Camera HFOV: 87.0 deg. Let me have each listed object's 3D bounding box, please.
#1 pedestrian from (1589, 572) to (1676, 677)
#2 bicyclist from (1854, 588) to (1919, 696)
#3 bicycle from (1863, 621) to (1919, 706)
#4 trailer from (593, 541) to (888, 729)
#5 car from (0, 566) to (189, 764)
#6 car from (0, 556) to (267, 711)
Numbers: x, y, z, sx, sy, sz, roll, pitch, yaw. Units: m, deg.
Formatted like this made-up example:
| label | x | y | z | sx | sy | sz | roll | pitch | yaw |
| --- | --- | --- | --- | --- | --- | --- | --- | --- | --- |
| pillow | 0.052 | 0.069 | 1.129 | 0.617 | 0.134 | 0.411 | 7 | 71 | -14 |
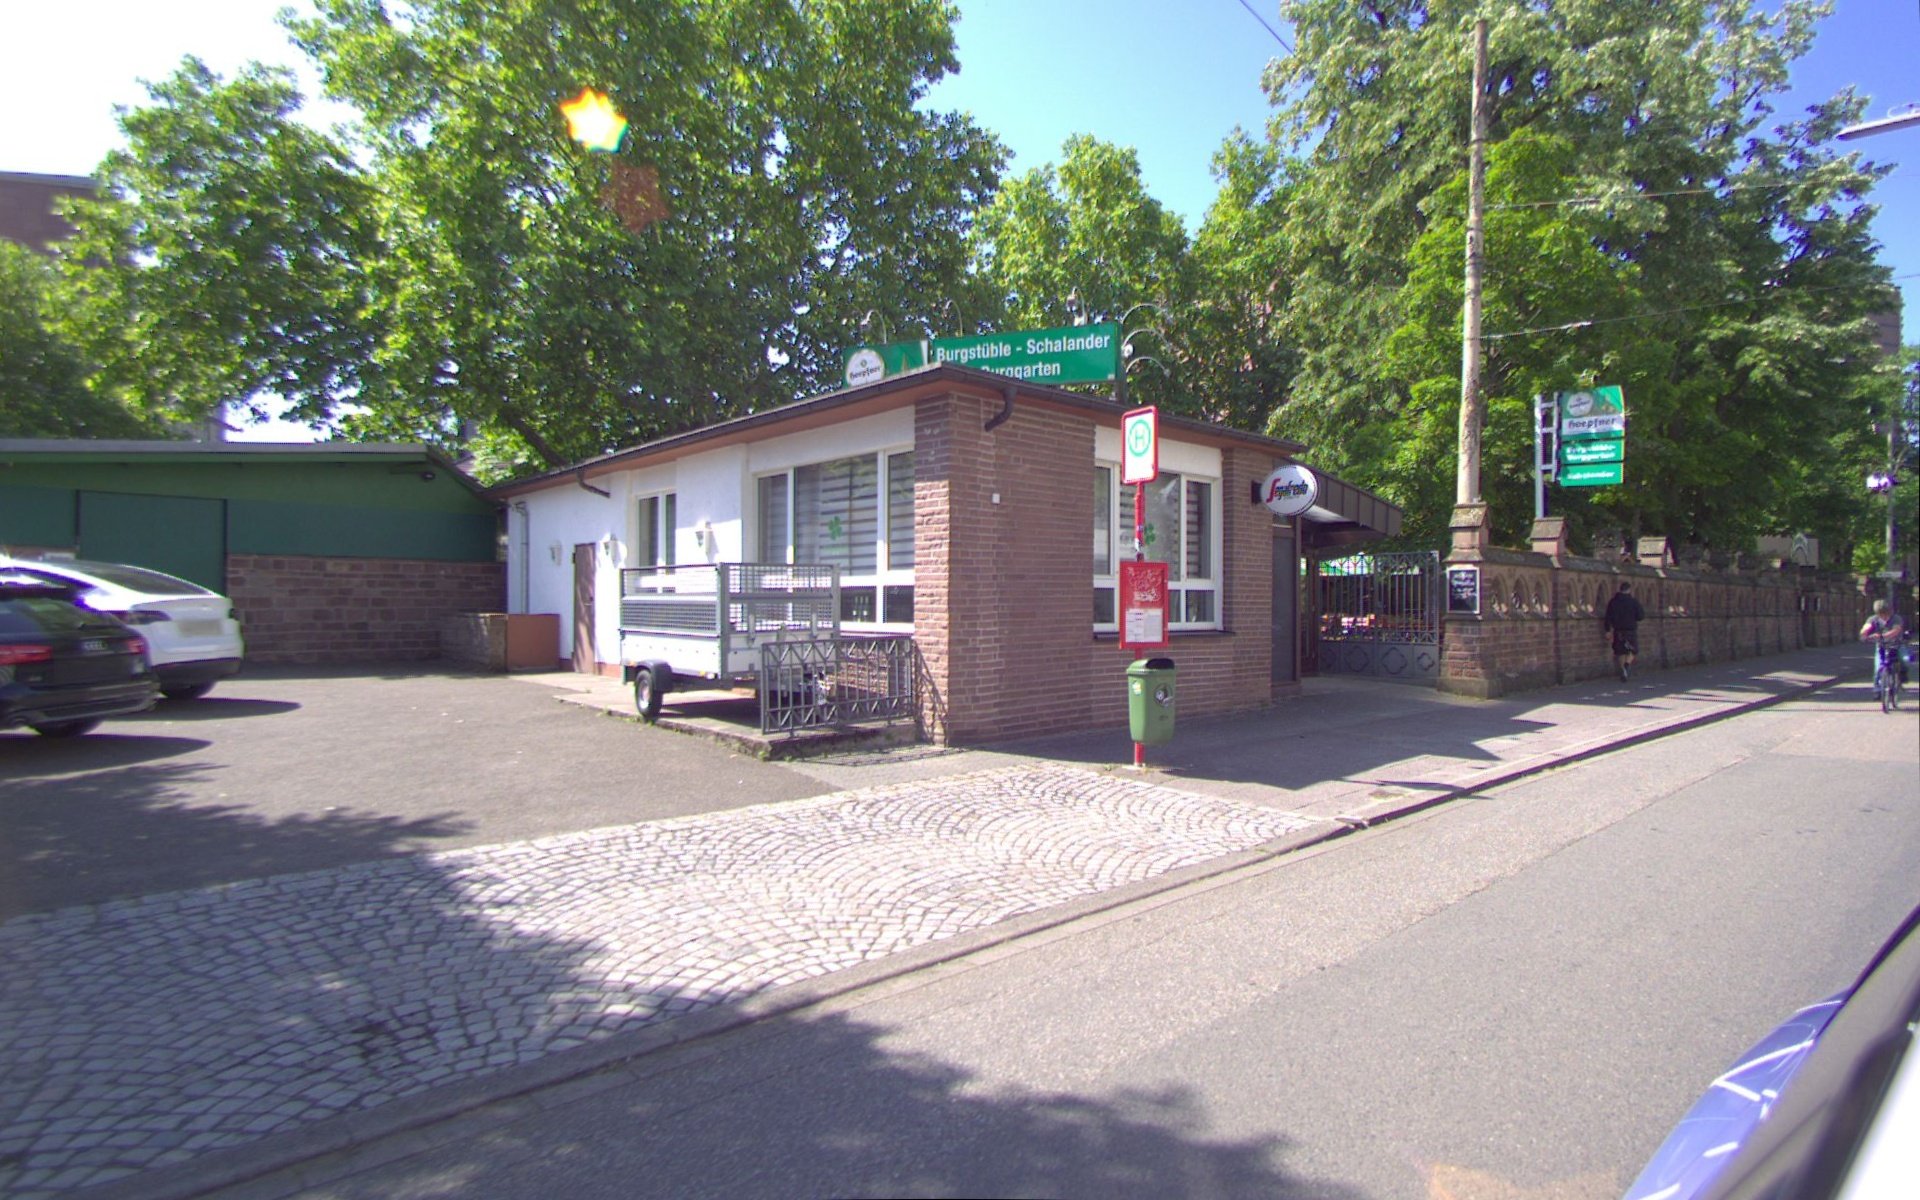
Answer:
| label | x | y | z | sx | sy | sz | roll | pitch | yaw |
| --- | --- | --- | --- | --- | --- | --- | --- | --- | --- |
| pedestrian | 12.514 | 0.428 | 18.822 | 1.164 | 1.837 | 0.979 | 1 | 3 | -41 |
| bicyclist | 14.422 | 0.623 | 15.562 | 0.948 | 1.616 | 0.904 | 1 | -1 | -42 |
| bicycle | 14.569 | 0.956 | 15.680 | 2.087 | 1.212 | 0.610 | 0 | -3 | -43 |
| trailer | -2.394 | 0.280 | 10.540 | 1.693 | 1.623 | 3.281 | 0 | 0 | -40 |
| car | -9.154 | 0.461 | 8.573 | 3.927 | 1.492 | 1.846 | 1 | 0 | 3 |
| car | -10.344 | 0.320 | 11.360 | 3.927 | 1.577 | 1.846 | 1 | 0 | 3 |
